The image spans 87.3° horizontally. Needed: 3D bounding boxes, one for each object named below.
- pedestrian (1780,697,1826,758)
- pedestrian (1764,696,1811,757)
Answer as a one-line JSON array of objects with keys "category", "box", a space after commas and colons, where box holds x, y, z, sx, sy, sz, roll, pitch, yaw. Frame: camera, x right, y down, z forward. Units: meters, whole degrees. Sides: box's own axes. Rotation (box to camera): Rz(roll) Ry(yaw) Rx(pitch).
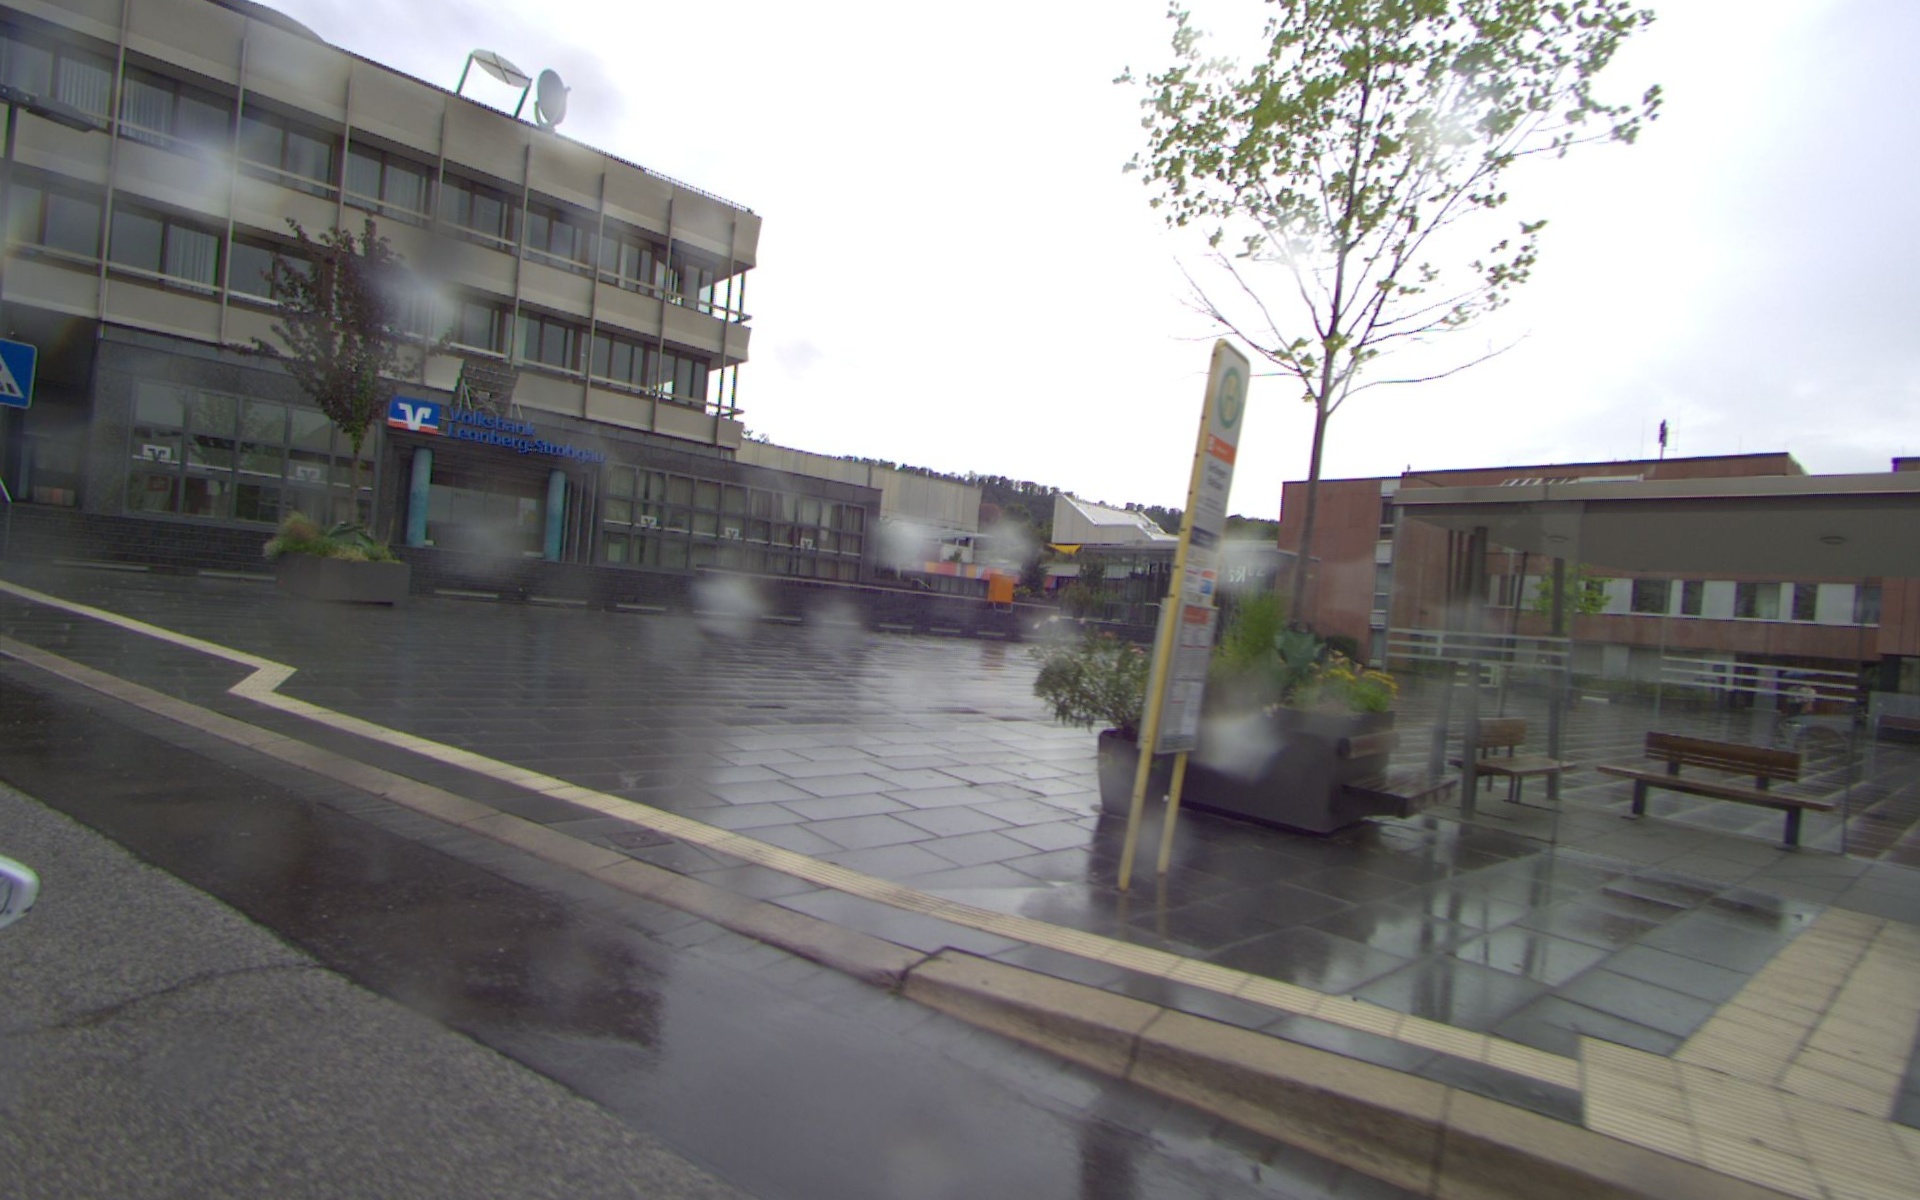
[{"category": "pedestrian", "box": [30.337, 4.590, 36.215, 0.847, 2.040, 0.731, 5, 1, -7]}, {"category": "pedestrian", "box": [29.481, 4.498, 35.842, 0.847, 2.040, 0.731, 5, 1, -7]}]
